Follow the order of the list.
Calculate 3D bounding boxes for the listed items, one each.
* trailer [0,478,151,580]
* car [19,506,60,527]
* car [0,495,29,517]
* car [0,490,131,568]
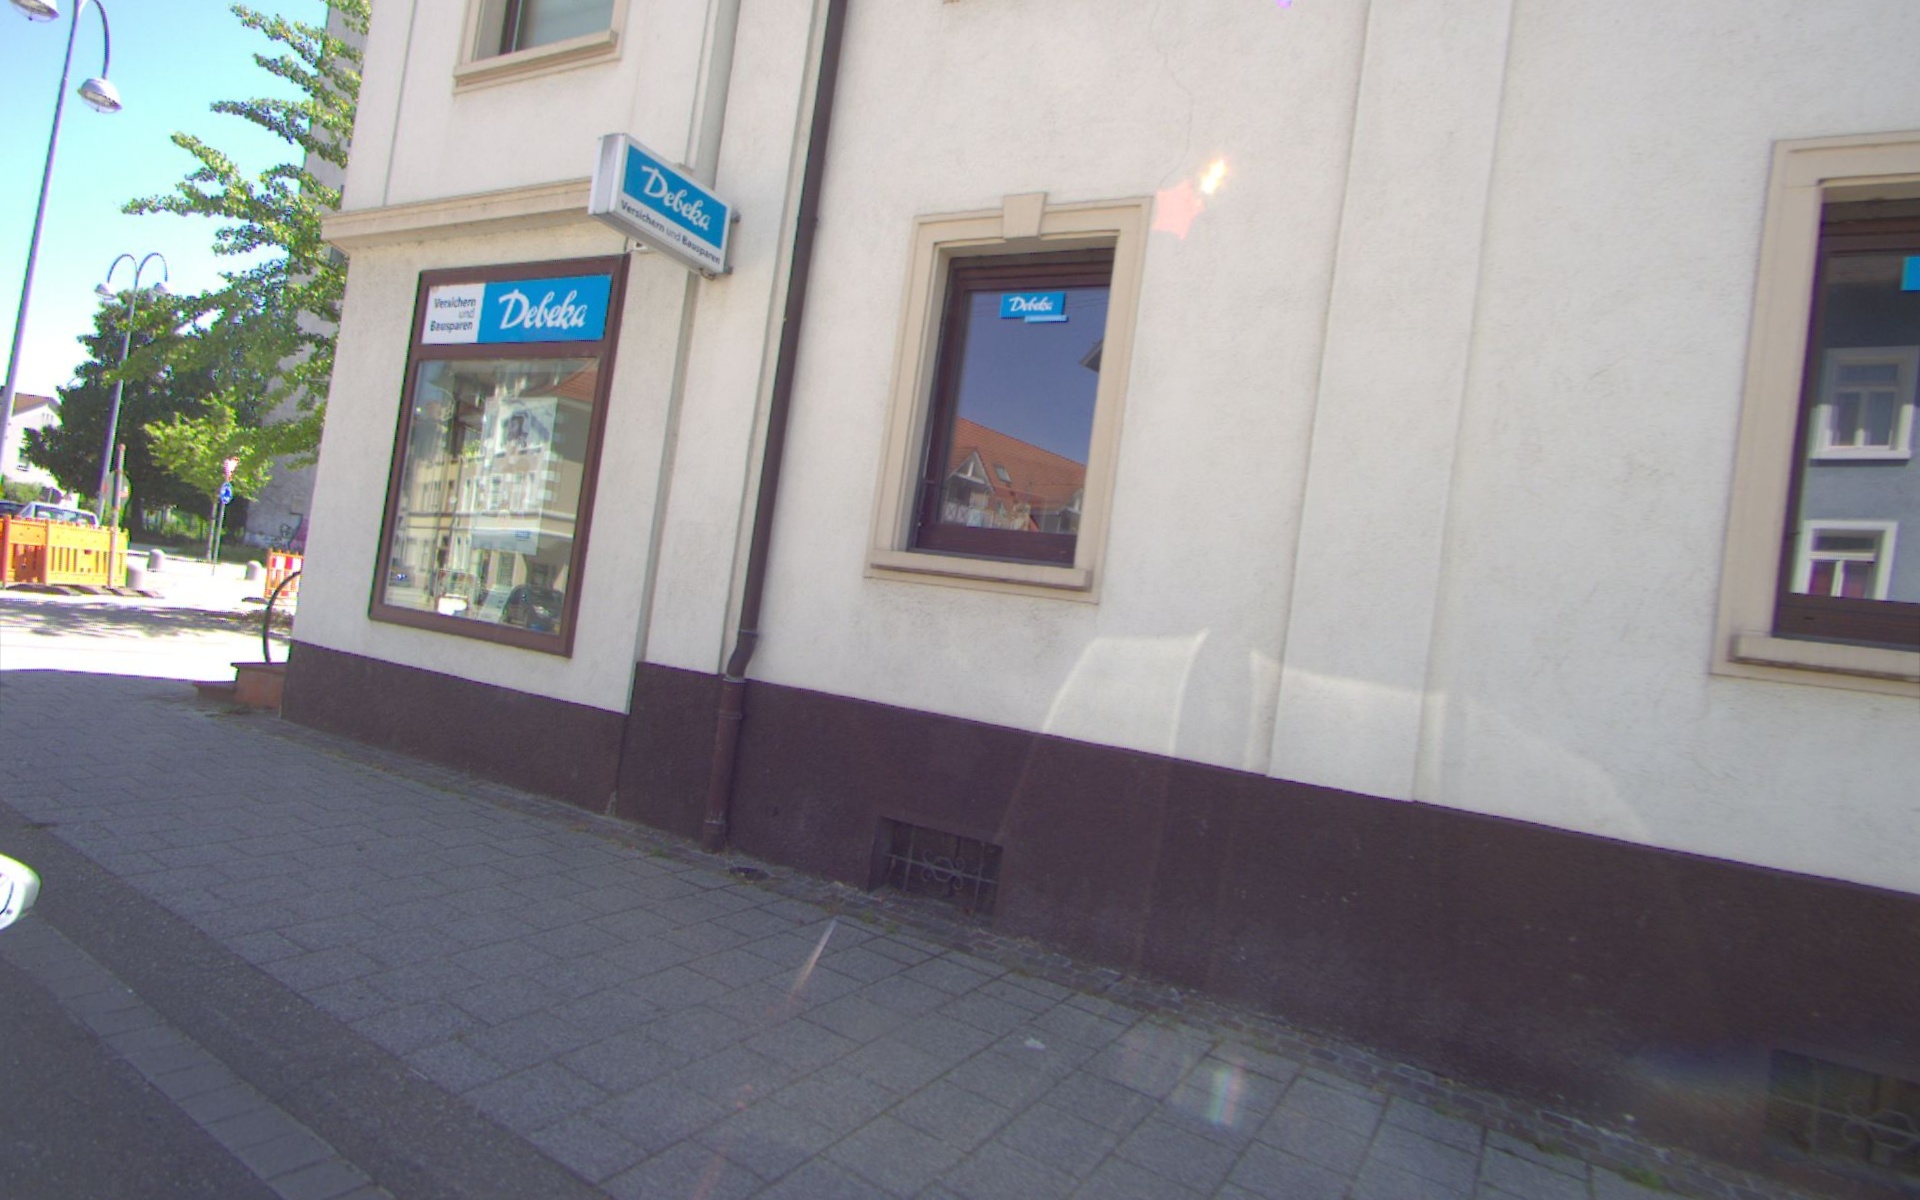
[{"bbox_3d":[-18.596,-1.453,20.293,1.724,1.737,3.199,7,-1,2],"label":"trailer"},{"bbox_3d":[-82.035,-7.443,89.690,1.725,1.453,3.685,8,-1,-28],"label":"car"},{"bbox_3d":[-75.522,-7.497,79.541,1.725,1.453,3.685,8,-1,-28],"label":"car"},{"bbox_3d":[-21.597,-1.715,24.107,3.653,1.453,1.739,7,-1,36],"label":"car"}]
